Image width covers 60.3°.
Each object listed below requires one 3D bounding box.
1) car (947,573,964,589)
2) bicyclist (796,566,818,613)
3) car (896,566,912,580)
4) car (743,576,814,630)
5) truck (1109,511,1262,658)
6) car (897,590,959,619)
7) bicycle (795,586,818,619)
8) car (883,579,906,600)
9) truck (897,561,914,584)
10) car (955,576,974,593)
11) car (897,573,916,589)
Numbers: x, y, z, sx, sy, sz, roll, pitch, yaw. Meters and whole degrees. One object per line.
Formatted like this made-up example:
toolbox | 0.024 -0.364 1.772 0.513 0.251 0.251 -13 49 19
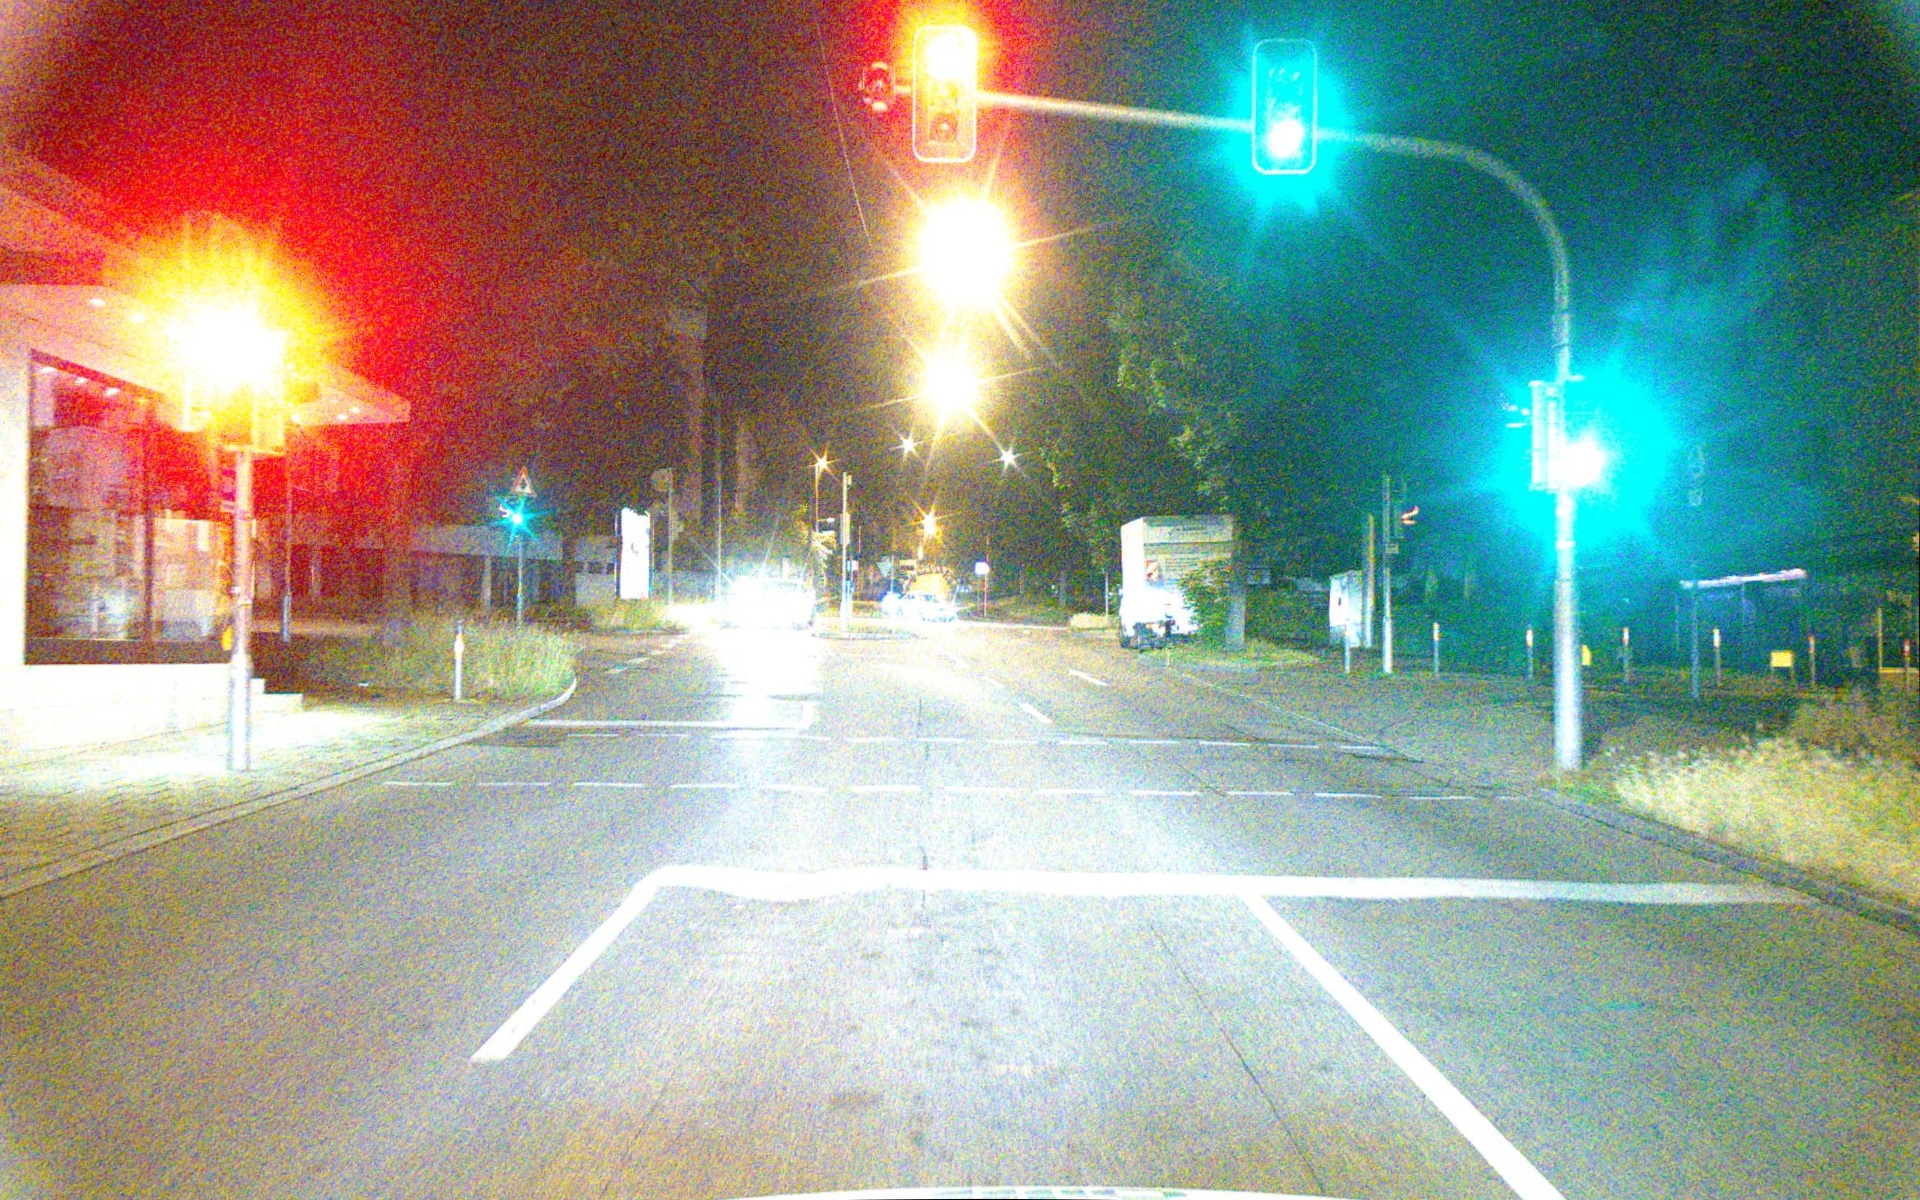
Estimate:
car | -0.417 -1.897 164.064 1.601 1.477 3.484 1 1 -1
bicyclist | -5.509 -0.376 59.572 0.676 1.666 0.896 1 0 -1
car | -6.484 -3.156 191.907 1.779 1.517 3.998 1 1 -3
car | -5.583 0.076 51.316 1.819 1.561 4.027 1 1 -1
truck | 5.230 -0.372 39.402 2.693 3.164 6.258 1 0 0
car | -1.730 0.210 87.870 1.889 1.413 4.554 1 1 -21
bicycle | -5.521 0.086 59.651 0.682 1.169 1.950 1 0 -1
car | -5.522 -0.932 139.283 1.778 1.713 3.999 1 1 -1
truck | -7.032 -3.580 214.266 2.045 2.897 5.828 1 0 -3
car | 0.368 -1.391 148.160 1.601 1.477 3.484 1 1 -1
car | -5.355 -1.887 165.273 1.779 1.517 3.998 1 1 -3
